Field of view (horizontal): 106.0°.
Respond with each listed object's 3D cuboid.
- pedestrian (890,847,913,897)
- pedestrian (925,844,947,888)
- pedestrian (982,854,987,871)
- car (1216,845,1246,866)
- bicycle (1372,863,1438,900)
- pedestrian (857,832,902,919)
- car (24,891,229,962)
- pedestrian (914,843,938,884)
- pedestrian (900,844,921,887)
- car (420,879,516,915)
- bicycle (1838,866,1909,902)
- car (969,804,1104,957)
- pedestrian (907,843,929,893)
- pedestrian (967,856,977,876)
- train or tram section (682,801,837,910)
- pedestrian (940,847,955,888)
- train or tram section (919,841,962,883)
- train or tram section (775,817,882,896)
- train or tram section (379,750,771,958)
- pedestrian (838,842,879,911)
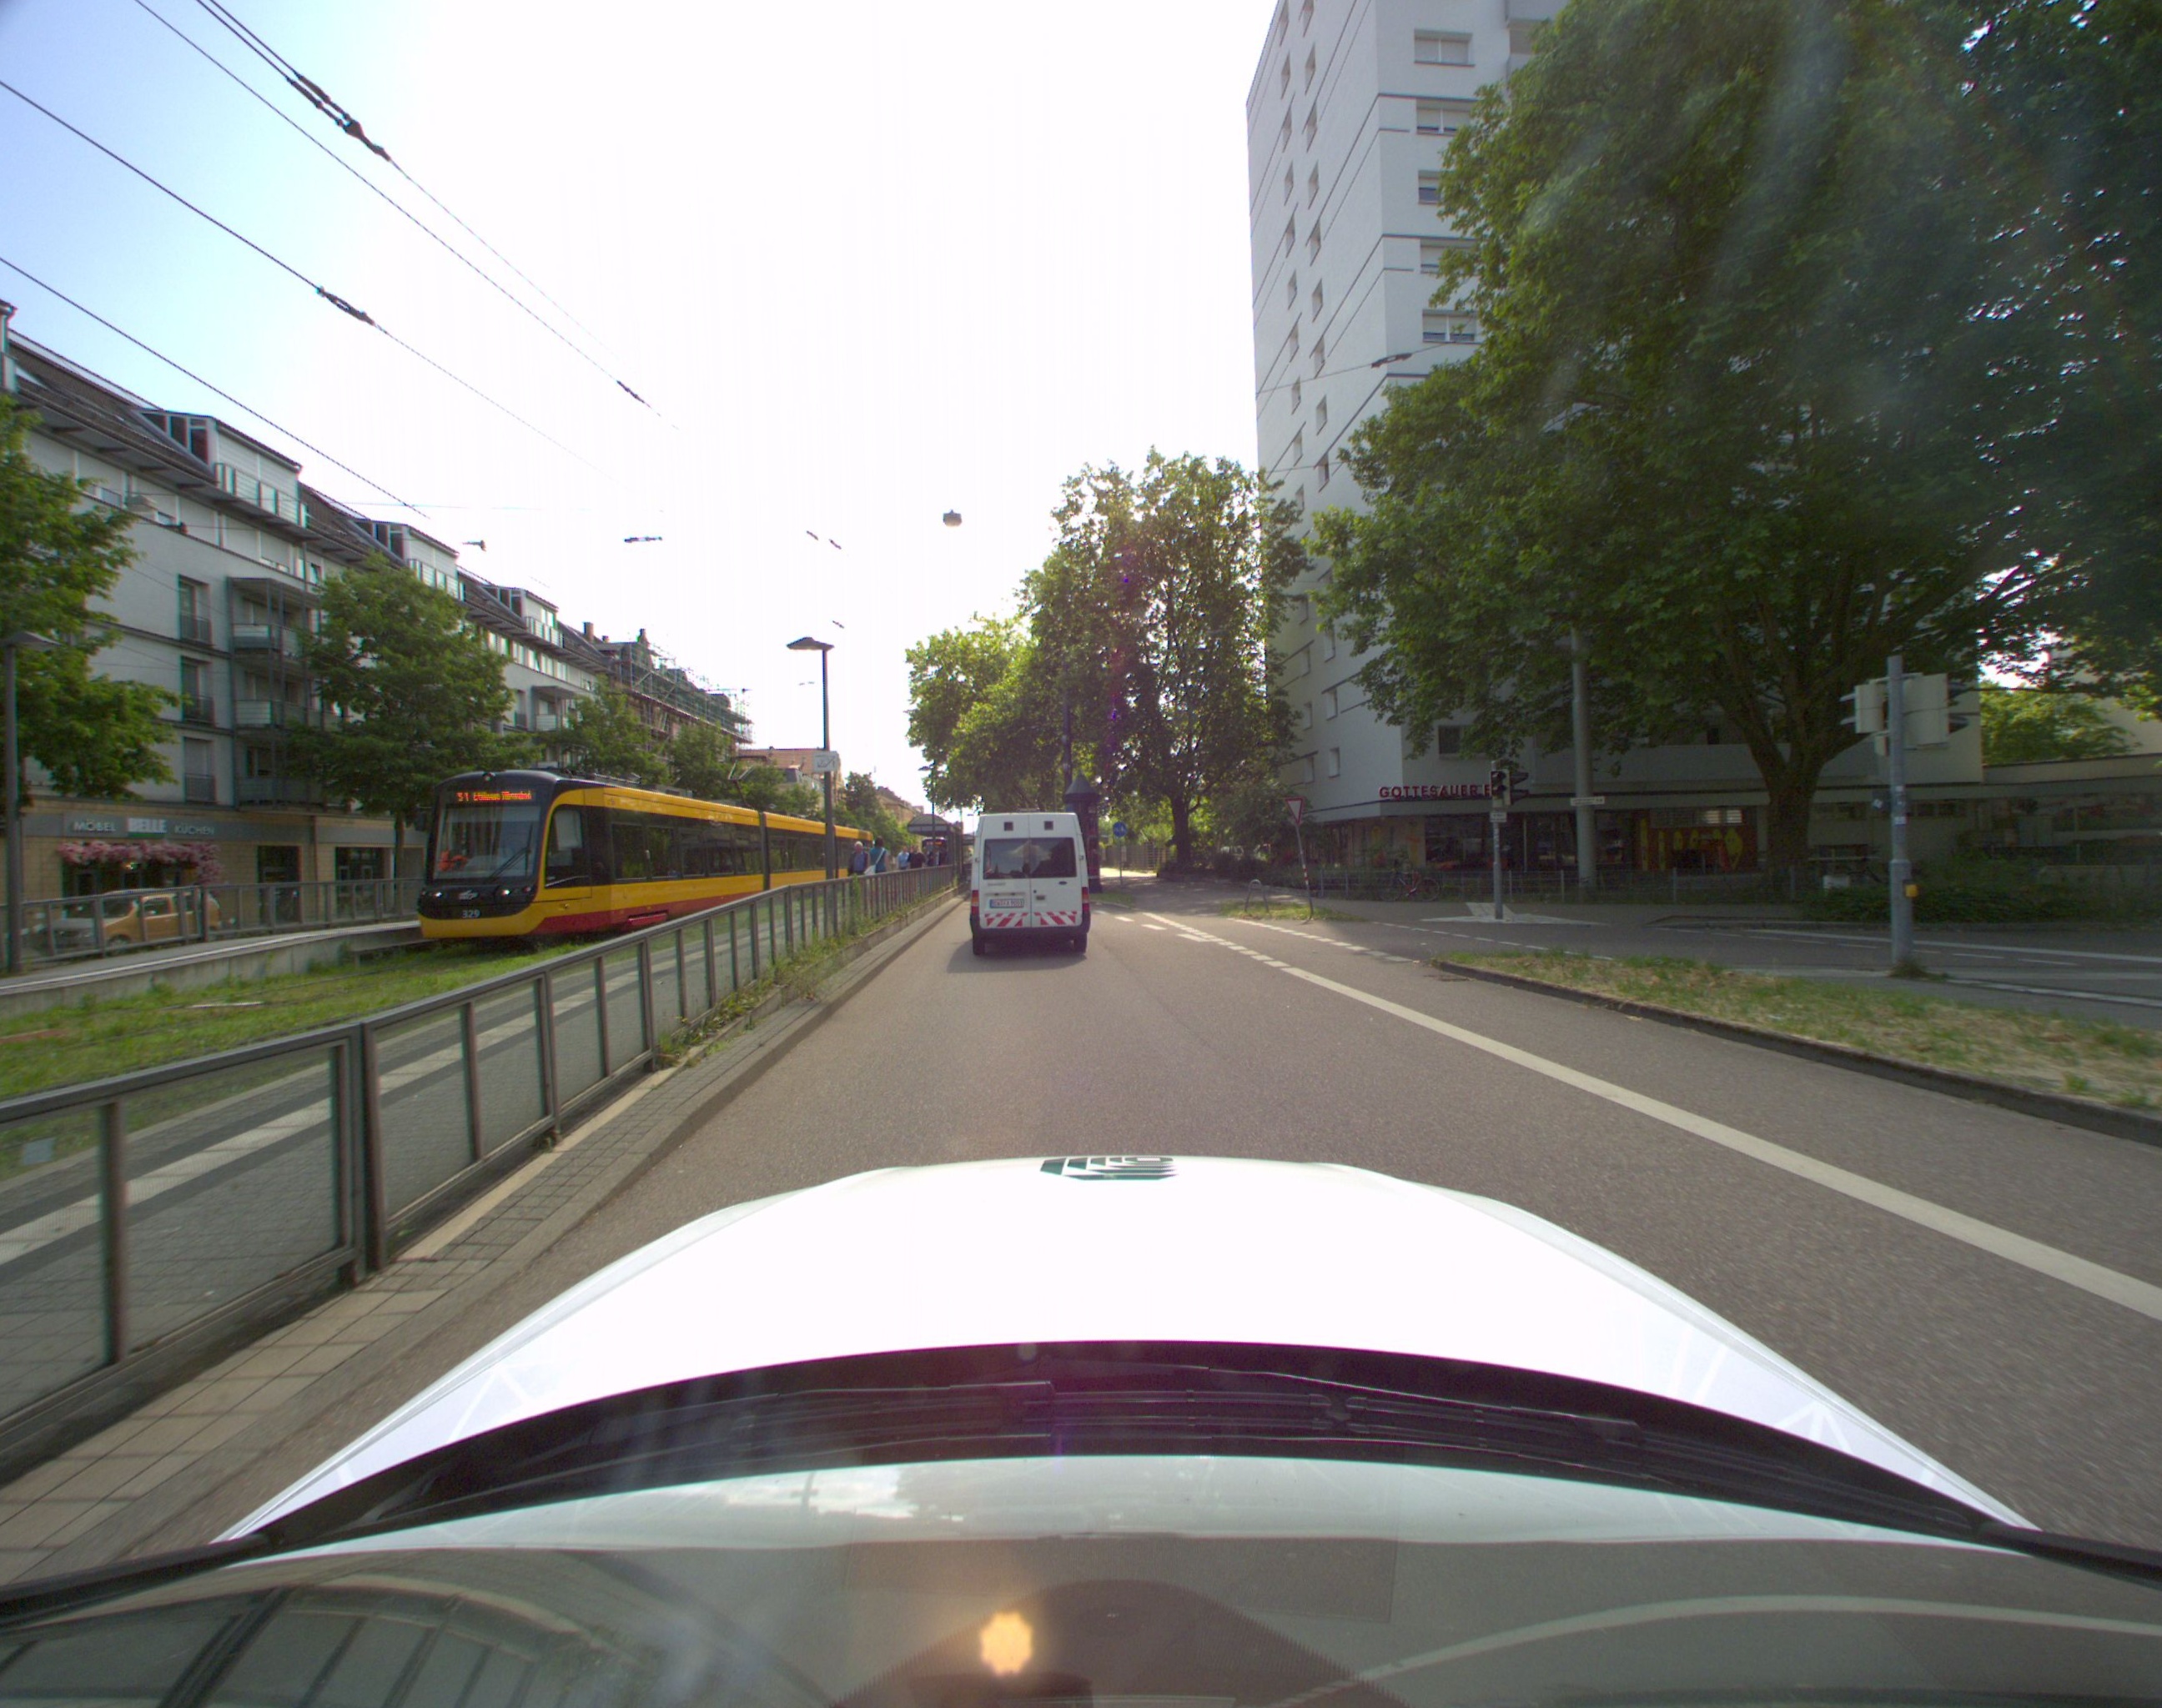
[{"bbox_3d":[-6.801,0.671,30.823,0.700,1.849,0.906,-1,-1,-6],"label":"pedestrian"},{"bbox_3d":[-6.356,0.514,35.659,0.809,1.872,1.029,-2,0,-6],"label":"pedestrian"},{"bbox_3d":[-8.943,0.798,75.320,0.385,1.591,0.438,-2,0,-6],"label":"pedestrian"},{"bbox_3d":[13.823,0.135,75.296,1.803,1.815,4.334,-1,0,-3],"label":"car"},{"bbox_3d":[9.154,0.770,23.044,1.708,1.009,0.537,-2,0,22],"label":"bicycle"},{"bbox_3d":[-4.551,0.479,18.430,0.825,1.899,0.845,-1,-1,-5],"label":"pedestrian"},{"bbox_3d":[-25.694,1.887,22.110,1.651,1.579,3.468,-2,0,-7],"label":"car"},{"bbox_3d":[-7.054,0.426,37.059,0.885,1.801,1.492,-2,0,-6],"label":"pedestrian"},{"bbox_3d":[-7.343,0.480,35.130,0.711,1.801,1.130,-2,0,-6],"label":"pedestrian"},{"bbox_3d":[-26.749,1.844,35.688,1.716,1.371,3.471,-2,0,-5],"label":"car"},{"bbox_3d":[18.473,0.698,18.991,1.200,0.796,0.299,-2,0,12],"label":"bicycle"},{"bbox_3d":[-0.874,0.421,15.152,2.044,2.333,4.706,-2,0,-5],"label":"car"},{"bbox_3d":[-6.155,0.535,30.831,0.700,1.849,0.787,-1,-1,-6],"label":"pedestrian"},{"bbox_3d":[-8.144,0.890,60.599,0.675,1.515,0.595,-2,0,-6],"label":"pedestrian"},{"bbox_3d":[-12.285,0.076,32.382,2.791,3.584,10.385,-1,0,-5],"label":"train or tram section"},{"bbox_3d":[-6.295,0.638,38.417,0.473,1.900,0.532,-2,0,-30],"label":"pedestrian"},{"bbox_3d":[-12.932,0.707,75.900,2.719,3.584,12.993,-1,0,-5],"label":"train or tram section"},{"bbox_3d":[-13.239,0.132,44.069,2.719,3.584,12.993,-1,0,-5],"label":"train or tram section"},{"bbox_3d":[-11.305,0.021,20.738,2.803,3.584,12.993,-1,0,-5],"label":"train or tram section"},{"bbox_3d":[-5.900,0.599,21.640,0.856,1.775,0.875,-1,-1,-5],"label":"pedestrian"}]
